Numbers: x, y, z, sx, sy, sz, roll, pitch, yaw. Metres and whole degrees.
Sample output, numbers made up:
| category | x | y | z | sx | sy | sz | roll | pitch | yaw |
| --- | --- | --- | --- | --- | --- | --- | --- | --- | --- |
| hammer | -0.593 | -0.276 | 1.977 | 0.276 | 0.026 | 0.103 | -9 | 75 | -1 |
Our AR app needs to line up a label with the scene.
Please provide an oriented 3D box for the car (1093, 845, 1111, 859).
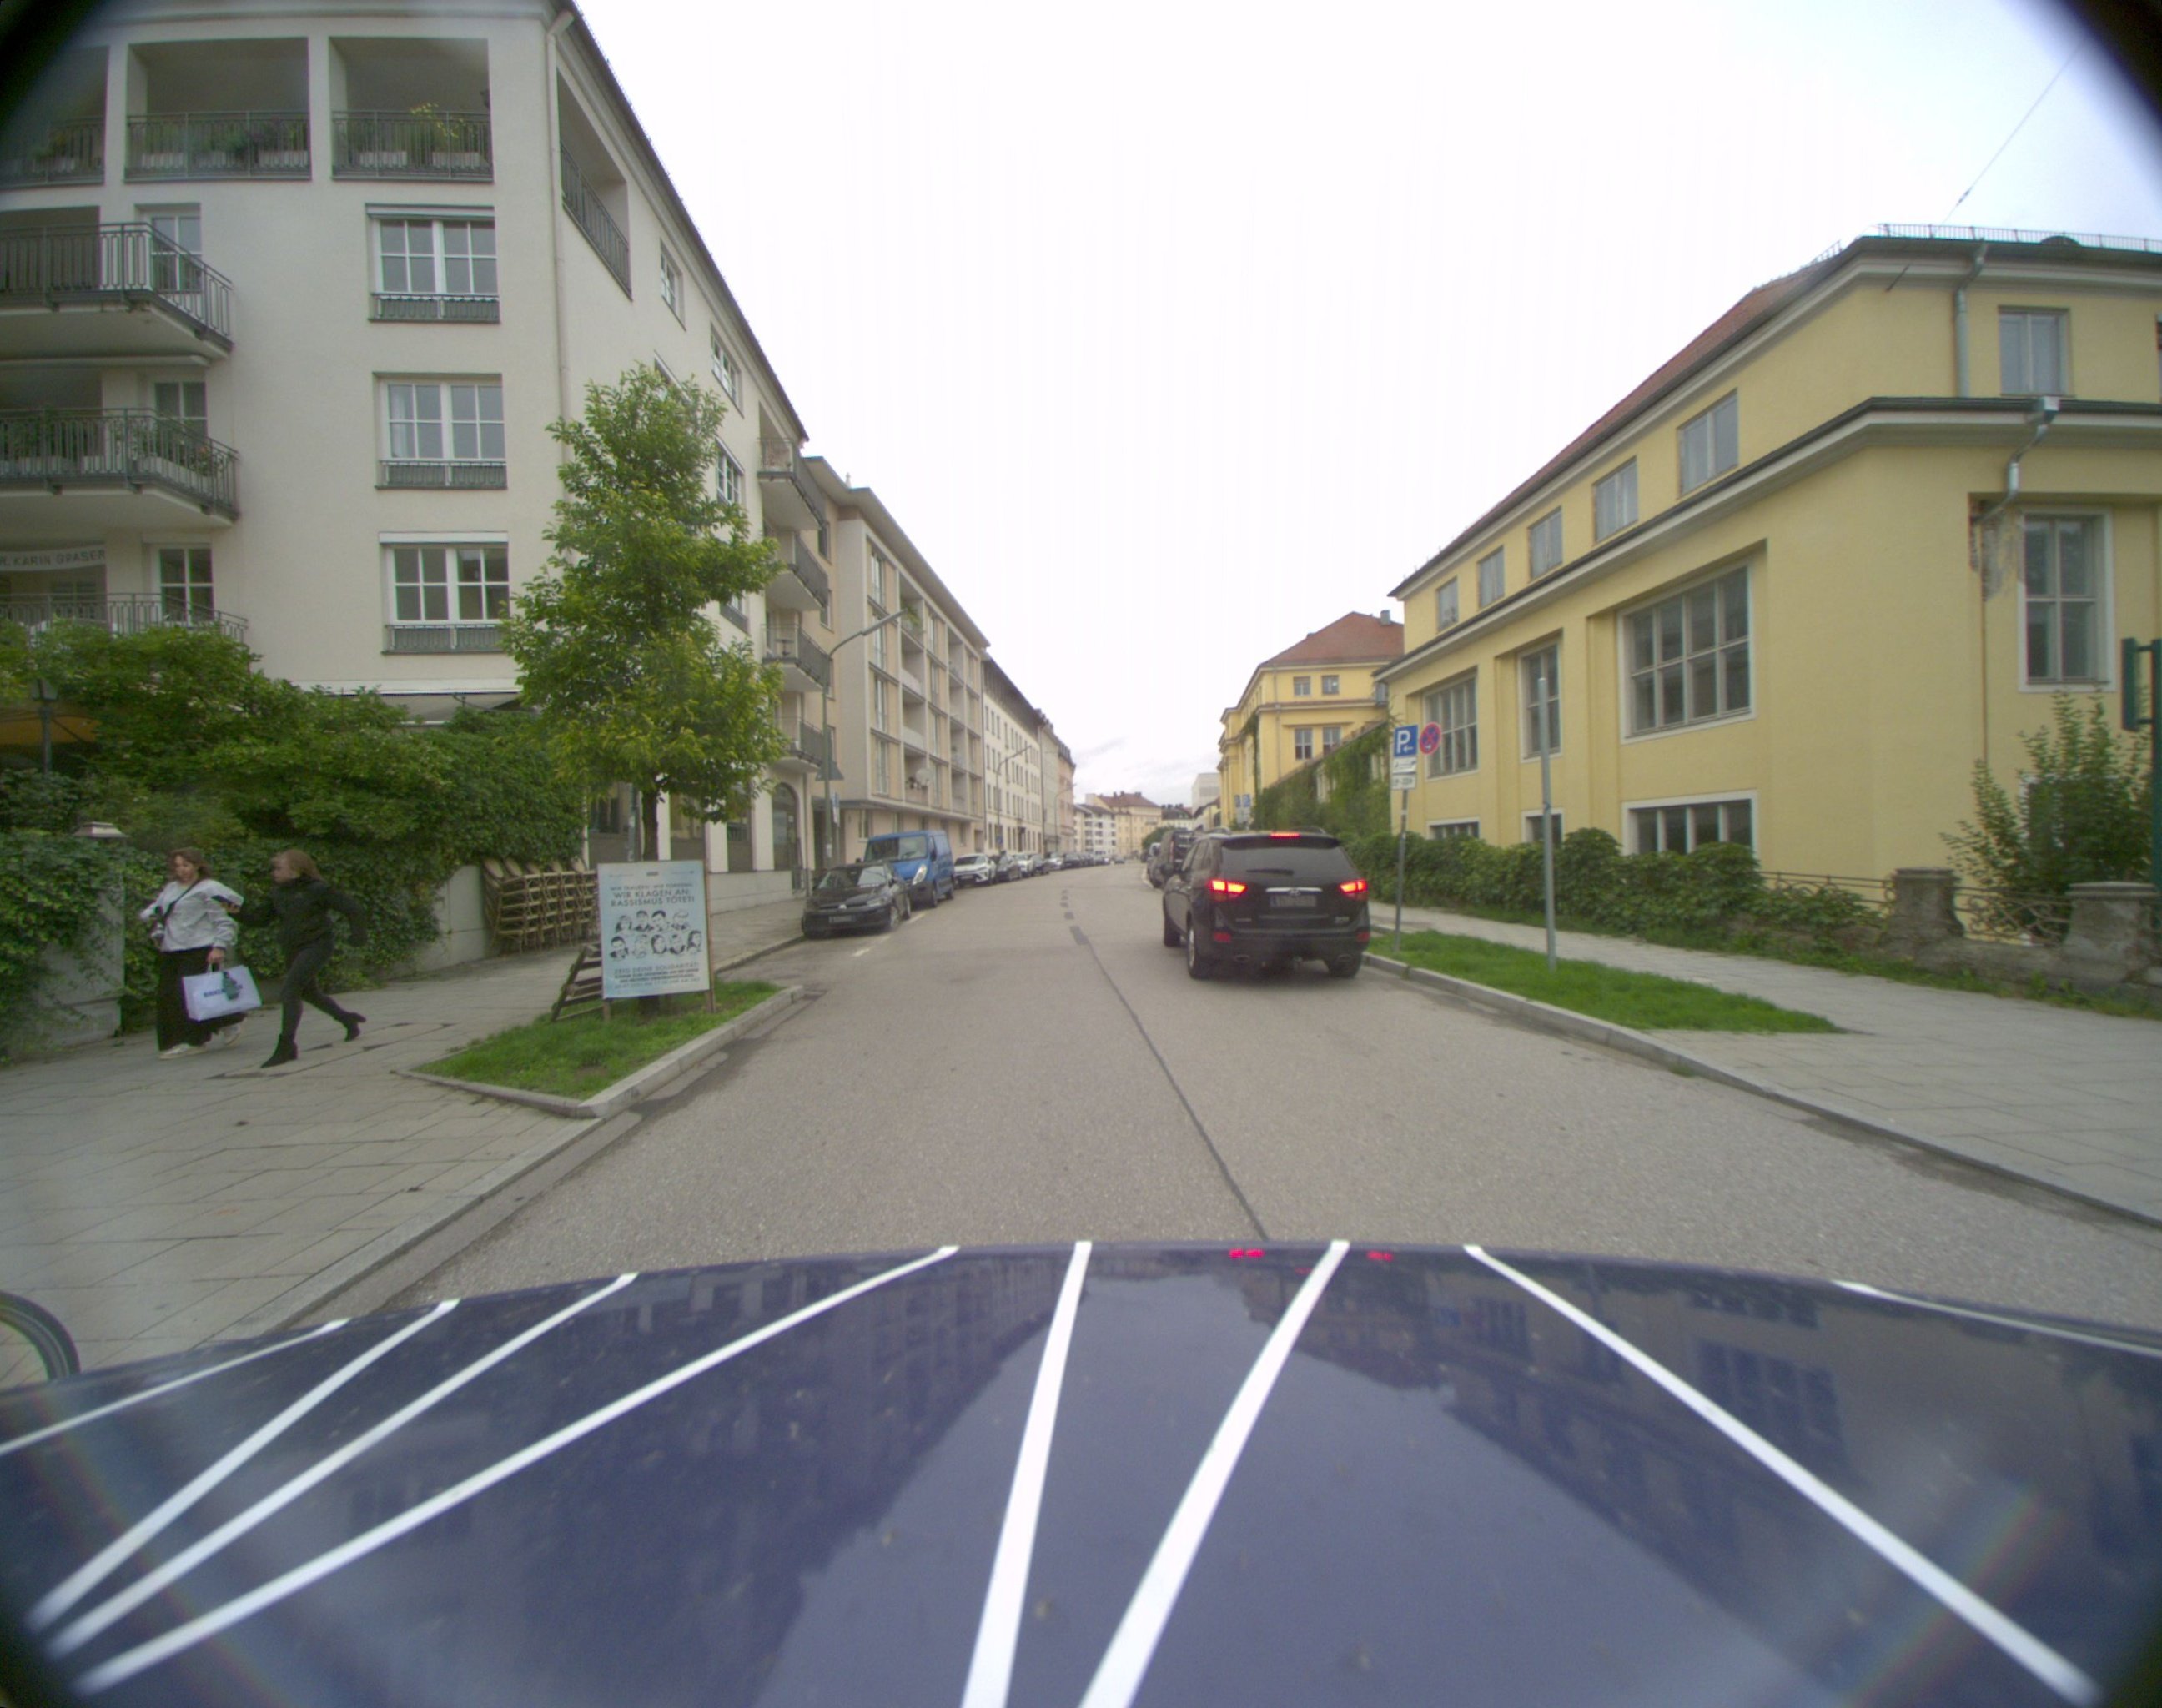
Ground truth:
| category | x | y | z | sx | sy | sz | roll | pitch | yaw |
| --- | --- | --- | --- | --- | --- | --- | --- | --- | --- |
| car | 2.625 | -0.222 | 93.937 | 1.768 | 1.531 | 4.002 | -4 | 0 | 6 |

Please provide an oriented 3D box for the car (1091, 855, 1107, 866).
| category | x | y | z | sx | sy | sz | roll | pitch | yaw |
| --- | --- | --- | --- | --- | --- | --- | --- | --- | --- |
| car | 2.836 | 0.931 | 116.645 | 2.000 | 1.563 | 4.493 | -4 | 0 | 5 |

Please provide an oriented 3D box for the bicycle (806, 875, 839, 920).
| category | x | y | z | sx | sy | sz | roll | pitch | yaw |
| --- | --- | --- | --- | --- | --- | --- | --- | --- | --- |
| bicycle | -6.730 | 1.100 | 19.823 | 0.567 | 1.063 | 1.785 | -1 | 0 | -12 |

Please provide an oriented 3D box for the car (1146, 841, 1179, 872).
| category | x | y | z | sx | sy | sz | roll | pitch | yaw |
| --- | --- | --- | --- | --- | --- | --- | --- | --- | --- |
| car | 5.099 | 0.150 | 47.872 | 1.897 | 1.788 | 4.883 | 3 | 0 | 5 |

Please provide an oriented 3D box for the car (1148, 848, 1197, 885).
| category | x | y | z | sx | sy | sz | roll | pitch | yaw |
| --- | --- | --- | --- | --- | --- | --- | --- | --- | --- |
| car | 3.794 | 0.497 | 32.066 | 1.710 | 1.357 | 4.002 | 3 | 0 | 3 |

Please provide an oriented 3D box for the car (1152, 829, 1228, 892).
| category | x | y | z | sx | sy | sz | roll | pitch | yaw |
| --- | --- | --- | --- | --- | --- | --- | --- | --- | --- |
| car | 3.684 | 0.216 | 26.571 | 1.930 | 1.967 | 4.622 | 1 | 0 | 0 |

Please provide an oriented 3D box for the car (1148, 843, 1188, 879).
| category | x | y | z | sx | sy | sz | roll | pitch | yaw |
| --- | --- | --- | --- | --- | --- | --- | --- | --- | --- |
| car | 4.206 | 0.319 | 37.204 | 1.706 | 1.597 | 4.492 | 2 | 0 | 4 |

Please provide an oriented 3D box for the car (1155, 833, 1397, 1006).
| category | x | y | z | sx | sy | sz | roll | pitch | yaw |
| --- | --- | --- | --- | --- | --- | --- | --- | --- | --- |
| car | 2.201 | 0.664 | 10.006 | 1.998 | 1.709 | 4.615 | -1 | 0 | 0 |

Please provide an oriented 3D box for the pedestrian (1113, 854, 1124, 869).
| category | x | y | z | sx | sy | sz | roll | pitch | yaw |
| --- | --- | --- | --- | --- | --- | --- | --- | --- | --- |
| pedestrian | 6.990 | 1.393 | 141.919 | 1.929 | 2.933 | 2.026 | 0 | 0 | 5 |

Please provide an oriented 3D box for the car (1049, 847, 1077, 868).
| category | x | y | z | sx | sy | sz | roll | pitch | yaw |
| --- | --- | --- | --- | --- | --- | --- | --- | --- | --- |
| car | -1.421 | 0.254 | 60.445 | 1.618 | 1.507 | 3.381 | -5 | 0 | 6 |

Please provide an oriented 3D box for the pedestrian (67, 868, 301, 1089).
| category | x | y | z | sx | sy | sz | roll | pitch | yaw |
| --- | --- | --- | --- | --- | --- | --- | --- | --- | --- |
| pedestrian | -7.085 | 0.933 | 6.061 | 0.809 | 1.597 | 0.829 | -1 | 2 | -4 |

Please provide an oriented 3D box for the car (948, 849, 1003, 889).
| category | x | y | z | sx | sy | sz | roll | pitch | yaw |
| --- | --- | --- | --- | --- | --- | --- | --- | --- | --- |
| car | -4.658 | 0.634 | 34.199 | 1.780 | 1.514 | 4.304 | -6 | 0 | -1 |

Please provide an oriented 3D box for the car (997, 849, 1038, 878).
| category | x | y | z | sx | sy | sz | roll | pitch | yaw |
| --- | --- | --- | --- | --- | --- | --- | --- | --- | --- |
| car | -3.665 | 0.512 | 44.482 | 1.706 | 1.460 | 4.121 | -6 | 0 | 3 |

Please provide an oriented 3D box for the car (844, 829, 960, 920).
| category | x | y | z | sx | sy | sz | roll | pitch | yaw |
| --- | --- | --- | --- | --- | --- | --- | --- | --- | --- |
| car | -5.126 | 0.457 | 22.612 | 2.114 | 2.201 | 5.026 | -6 | 2 | -1 |

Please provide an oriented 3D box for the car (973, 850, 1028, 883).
| category | x | y | z | sx | sy | sz | roll | pitch | yaw |
| --- | --- | --- | --- | --- | --- | --- | --- | --- | --- |
| car | -4.082 | 0.601 | 39.313 | 1.776 | 1.421 | 4.695 | -6 | 0 | 6 |

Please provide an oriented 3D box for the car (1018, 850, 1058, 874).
| category | x | y | z | sx | sy | sz | roll | pitch | yaw |
| --- | --- | --- | --- | --- | --- | --- | --- | --- | --- |
| car | -2.752 | 0.486 | 49.460 | 1.831 | 1.373 | 4.493 | -4 | 0 | 6 |

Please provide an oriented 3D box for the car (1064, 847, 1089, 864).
| category | x | y | z | sx | sy | sz | roll | pitch | yaw |
| --- | --- | --- | --- | --- | --- | --- | --- | --- | --- |
| car | -0.385 | 0.109 | 70.078 | 1.877 | 1.439 | 4.701 | -3 | 0 | 4 |

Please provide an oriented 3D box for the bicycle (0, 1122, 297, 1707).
| category | x | y | z | sx | sy | sz | roll | pitch | yaw |
| --- | --- | --- | --- | --- | --- | --- | --- | --- | --- |
| bicycle | -2.573 | 1.215 | 0.910 | 0.878 | 1.013 | 2.191 | -1 | 0 | 4 |

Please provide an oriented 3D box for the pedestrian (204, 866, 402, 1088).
| category | x | y | z | sx | sy | sz | roll | pitch | yaw |
| --- | --- | --- | --- | --- | --- | --- | --- | --- | --- |
| pedestrian | -6.165 | 0.923 | 6.080 | 0.680 | 1.619 | 0.829 | -1 | 2 | -5 |

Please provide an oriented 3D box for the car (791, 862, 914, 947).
| category | x | y | z | sx | sy | sz | roll | pitch | yaw |
| --- | --- | --- | --- | --- | --- | --- | --- | --- | --- |
| car | -4.744 | 0.969 | 16.340 | 1.719 | 1.387 | 3.997 | -5 | 1 | -6 |

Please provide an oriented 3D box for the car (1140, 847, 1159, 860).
| category | x | y | z | sx | sy | sz | roll | pitch | yaw |
| --- | --- | --- | --- | --- | --- | --- | --- | --- | --- |
| car | 13.172 | -0.082 | 146.969 | 2.847 | 2.536 | 6.892 | -1 | 0 | -1 |
